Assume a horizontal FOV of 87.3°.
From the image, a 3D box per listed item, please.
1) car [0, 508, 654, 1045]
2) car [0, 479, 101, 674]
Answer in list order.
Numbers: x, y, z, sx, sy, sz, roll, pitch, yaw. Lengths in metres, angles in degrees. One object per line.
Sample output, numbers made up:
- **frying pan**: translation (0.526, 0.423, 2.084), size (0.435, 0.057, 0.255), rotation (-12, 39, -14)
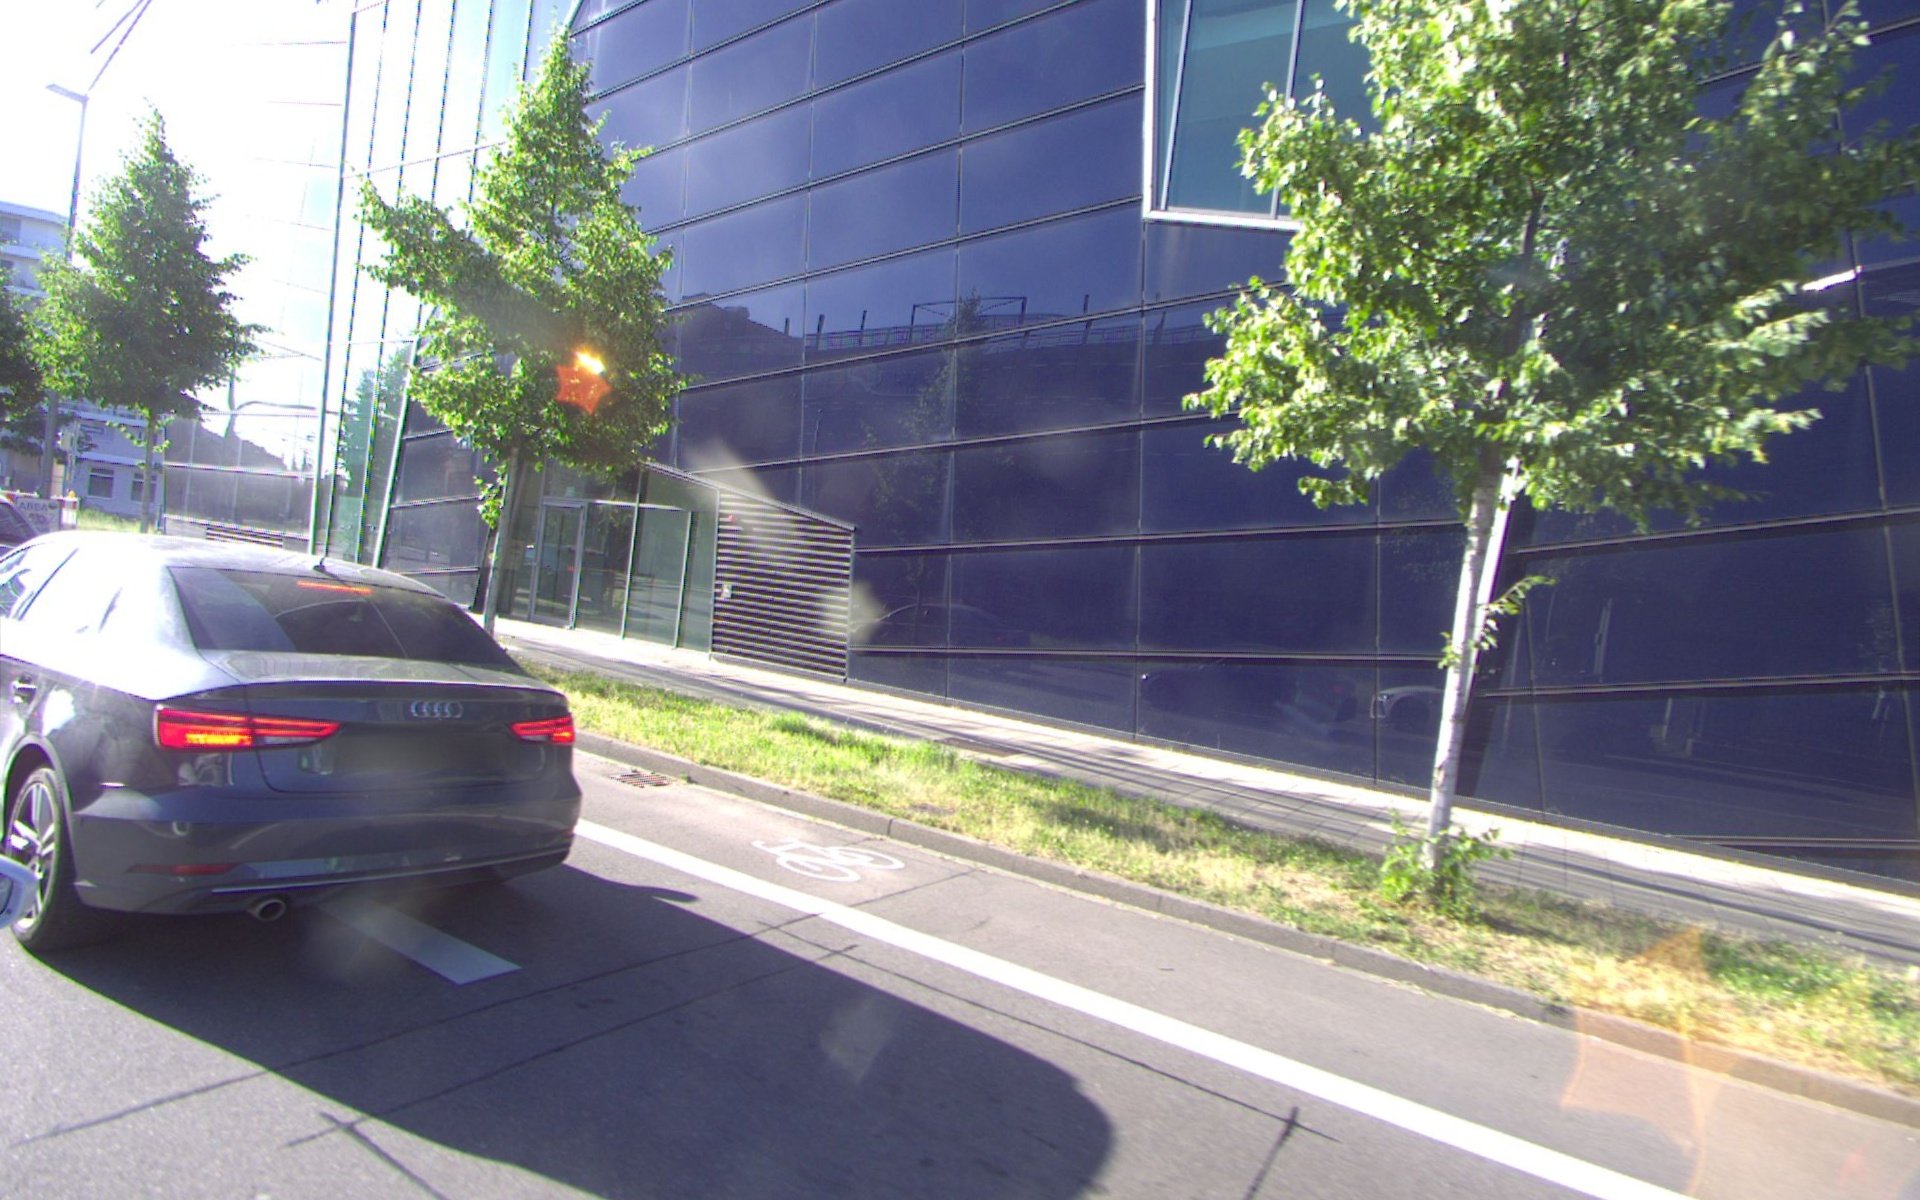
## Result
- **car**: translation (-3.578, 0.415, 4.683), size (4.196, 1.408, 1.748), rotation (7, -1, 34)
- **car**: translation (-9.494, -0.426, 8.759), size (4.552, 1.499, 1.748), rotation (7, 0, 33)
